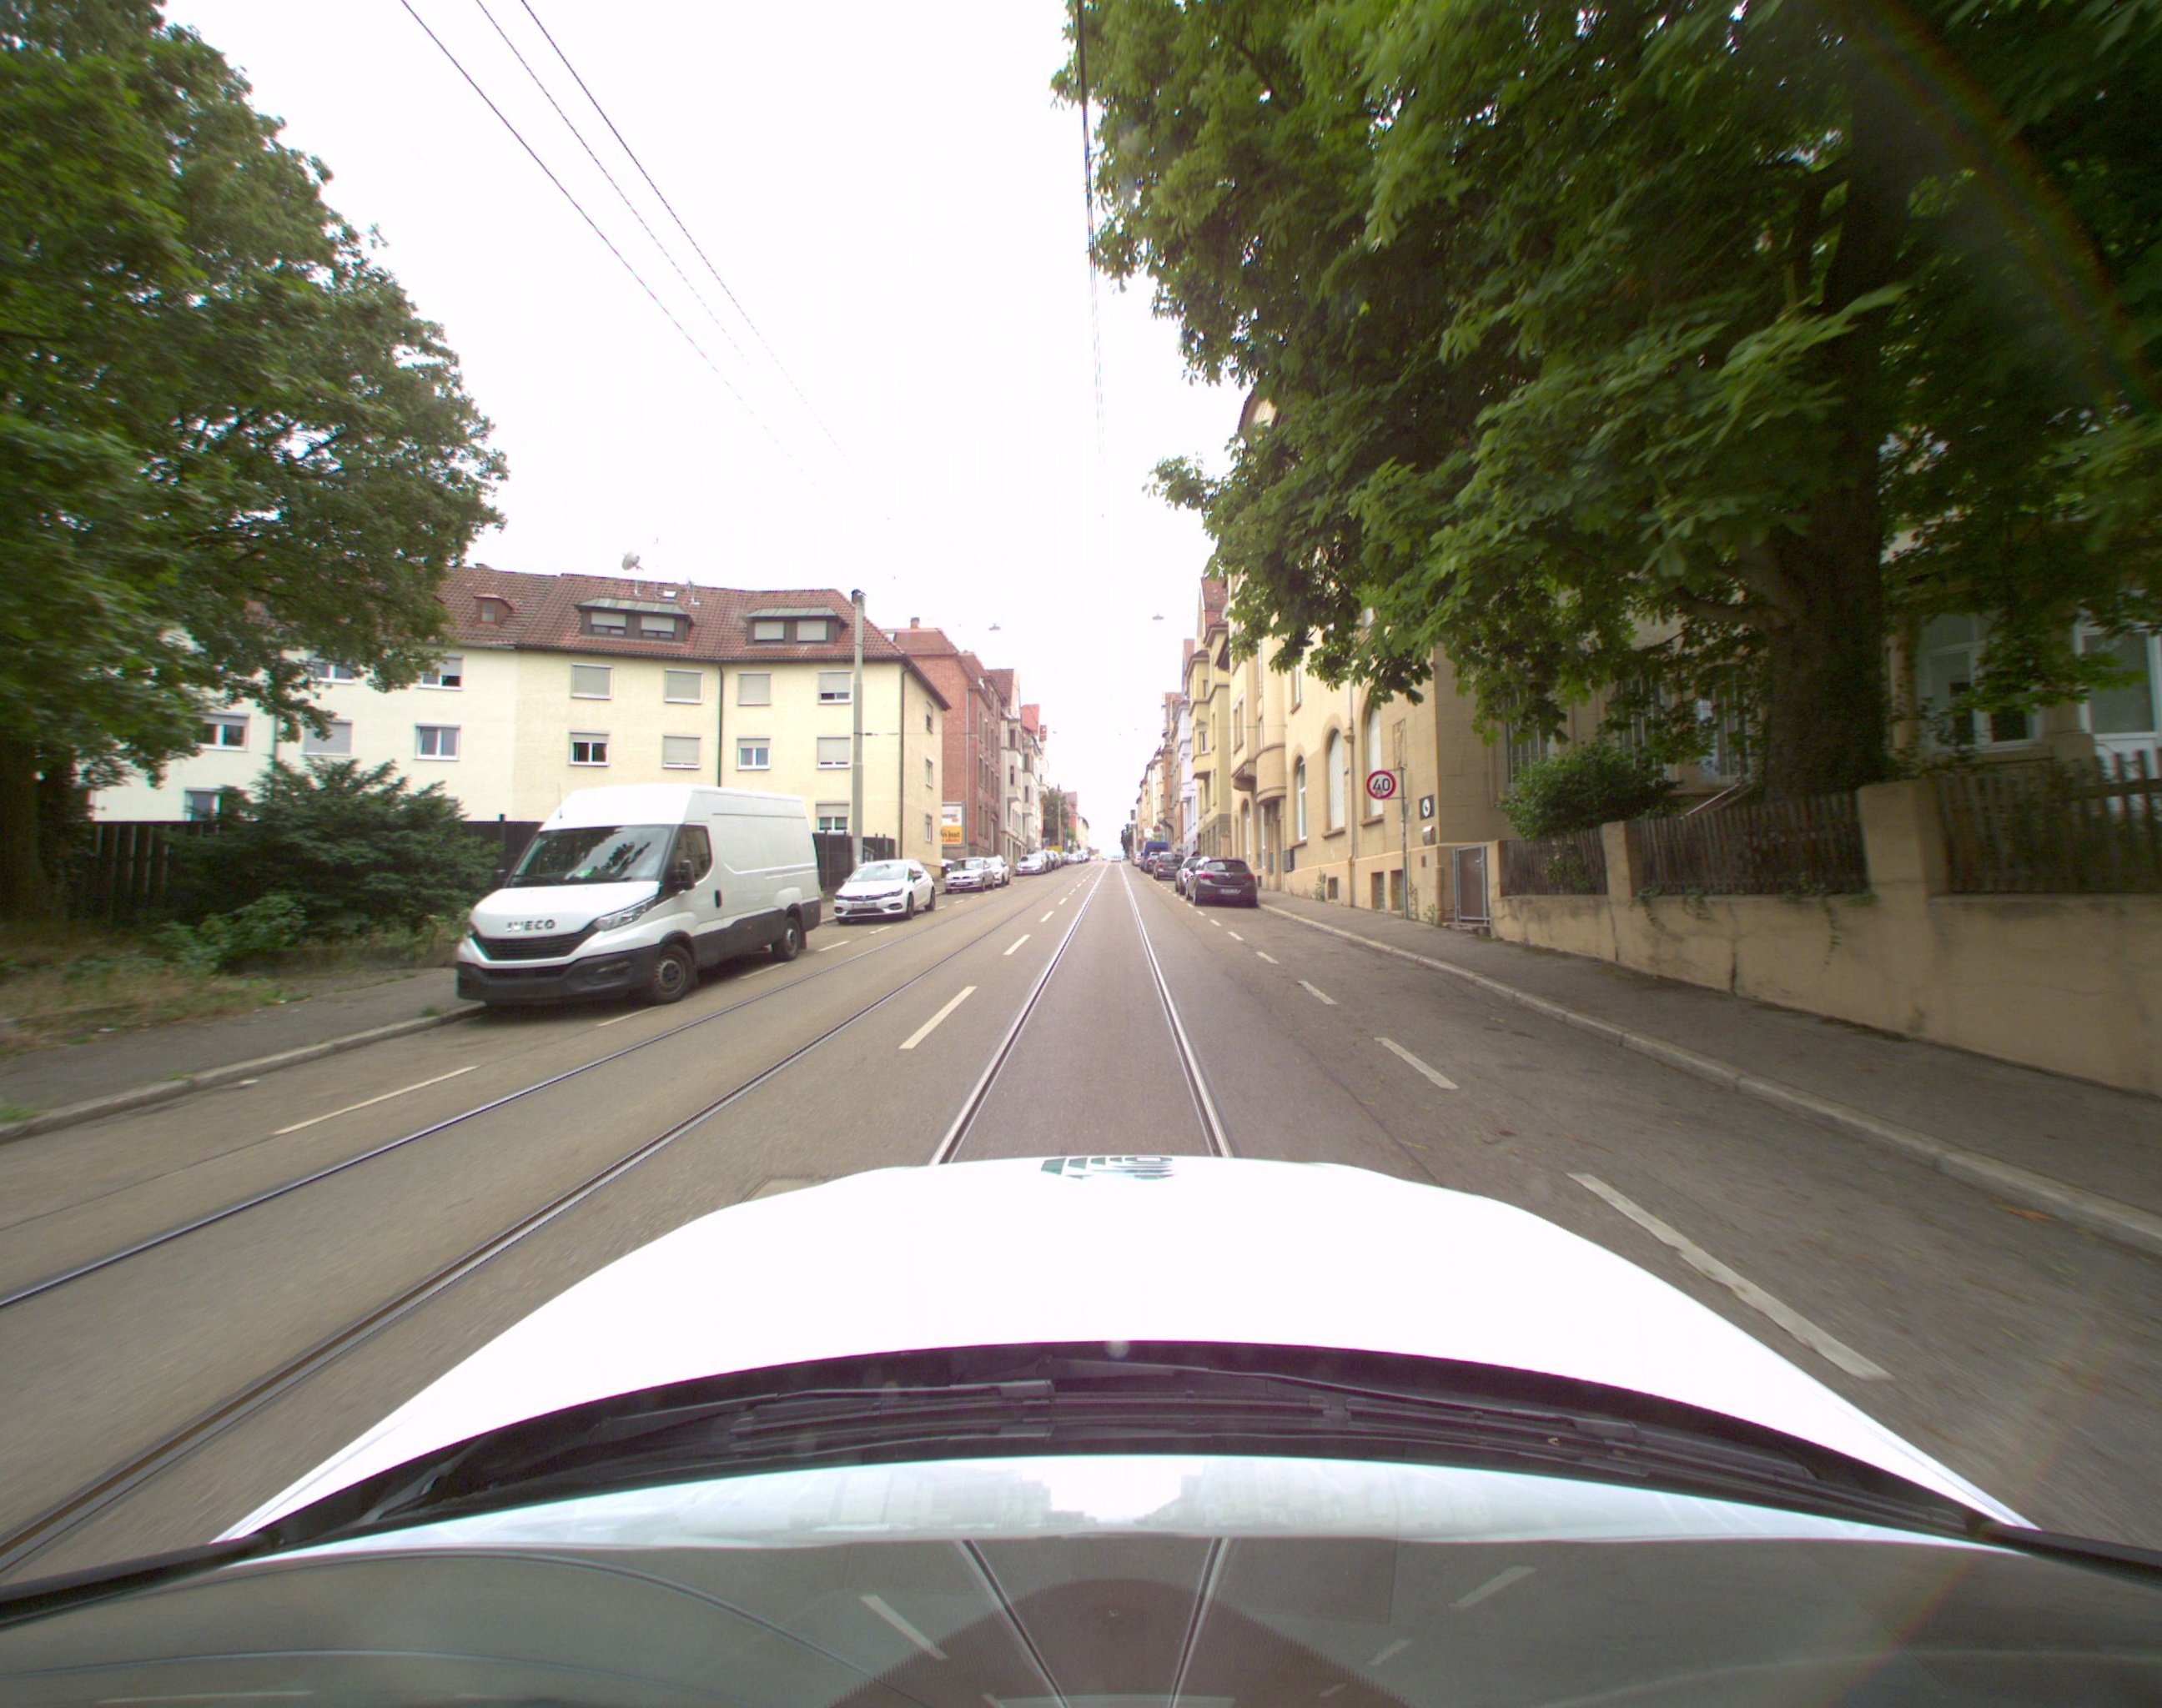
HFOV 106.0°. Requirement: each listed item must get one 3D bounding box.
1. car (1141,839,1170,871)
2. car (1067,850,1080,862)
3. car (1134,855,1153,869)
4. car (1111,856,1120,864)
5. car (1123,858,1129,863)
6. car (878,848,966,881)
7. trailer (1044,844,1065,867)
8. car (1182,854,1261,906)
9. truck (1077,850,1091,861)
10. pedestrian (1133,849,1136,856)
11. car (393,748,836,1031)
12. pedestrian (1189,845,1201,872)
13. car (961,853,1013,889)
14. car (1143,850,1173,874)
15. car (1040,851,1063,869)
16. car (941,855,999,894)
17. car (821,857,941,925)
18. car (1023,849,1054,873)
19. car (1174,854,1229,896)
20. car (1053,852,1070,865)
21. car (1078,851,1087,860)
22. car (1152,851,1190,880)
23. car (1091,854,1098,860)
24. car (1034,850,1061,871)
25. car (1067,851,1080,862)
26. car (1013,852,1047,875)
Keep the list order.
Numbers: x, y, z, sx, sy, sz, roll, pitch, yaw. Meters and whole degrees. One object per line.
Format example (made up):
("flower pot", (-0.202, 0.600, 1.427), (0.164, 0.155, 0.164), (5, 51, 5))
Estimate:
("car", (5.768, 0.109, 63.737), (1.986, 2.376, 5.059), (0, -1, 2))
("car", (-1.179, 0.322, 132.926), (1.736, 1.736, 4.524), (-2, 0, 4))
("car", (6.560, 0.801, 85.591), (1.744, 1.390, 4.308), (2, 0, 1))
("car", (6.314, 1.128, 148.792), (1.666, 1.513, 3.798), (-1, 0, 1))
("car", (13.448, 1.845, 243.524), (1.985, 1.563, 4.293), (0, 0, 3))
("car", (-10.034, 0.651, 51.642), (5.160, 1.818, 1.939), (-3, 0, -2))
("trailer", (-2.638, 0.158, 81.939), (1.741, 2.155, 4.074), (-3, 0, 3))
("car", (4.167, 0.742, 24.771), (1.832, 1.403, 4.169), (1, 0, 2))
("truck", (0.531, 0.334, 159.300), (2.270, 2.188, 8.032), (0, 0, 3))
("pedestrian", (13.821, -0.391, 210.224), (0.787, 1.667, 0.800), (0, 0, 4))
("car", (-5.443, 0.329, 10.977), (2.151, 2.606, 6.220), (-3, 0, 1))
("pedestrian", (7.288, 0.313, 52.069), (0.540, 1.682, 0.515), (-5, -3, -6))
("car", (-4.367, 0.751, 38.581), (1.822, 1.429, 4.627), (-4, 0, 0))
("car", (5.496, 0.566, 58.512), (1.773, 1.530, 4.194), (3, 0, 2))
("car", (-2.806, 0.564, 77.766), (1.690, 1.593, 4.271), (-3, 0, 3))
("car", (-4.588, 0.815, 34.129), (1.594, 1.368, 3.811), (-4, 0, 3))
("car", (-4.889, 0.850, 20.573), (1.712, 1.403, 4.316), (-3, 0, 2))
("car", (-3.244, 0.487, 63.407), (1.820, 1.718, 4.917), (-3, 0, 3))
("car", (4.514, 0.740, 30.887), (1.688, 1.404, 3.670), (2, 0, 3))
("car", (-2.210, 0.497, 93.549), (1.690, 1.468, 3.025), (-3, 0, 3))
("car", (0.306, 0.288, 151.036), (1.691, 1.433, 4.482), (-2, 0, 1))
("car", (5.039, 0.625, 45.960), (1.820, 1.519, 4.031), (2, 0, 3))
("car", (3.670, 0.742, 225.592), (1.847, 1.607, 4.299), (0, 0, 2))
("car", (-2.929, 0.568, 71.891), (1.866, 1.664, 4.895), (-3, 0, 3))
("car", (-1.118, 0.404, 121.295), (1.689, 1.556, 3.854), (0, 0, 4))
("car", (-3.568, 0.658, 57.885), (1.820, 1.429, 4.843), (-3, 0, 3))
